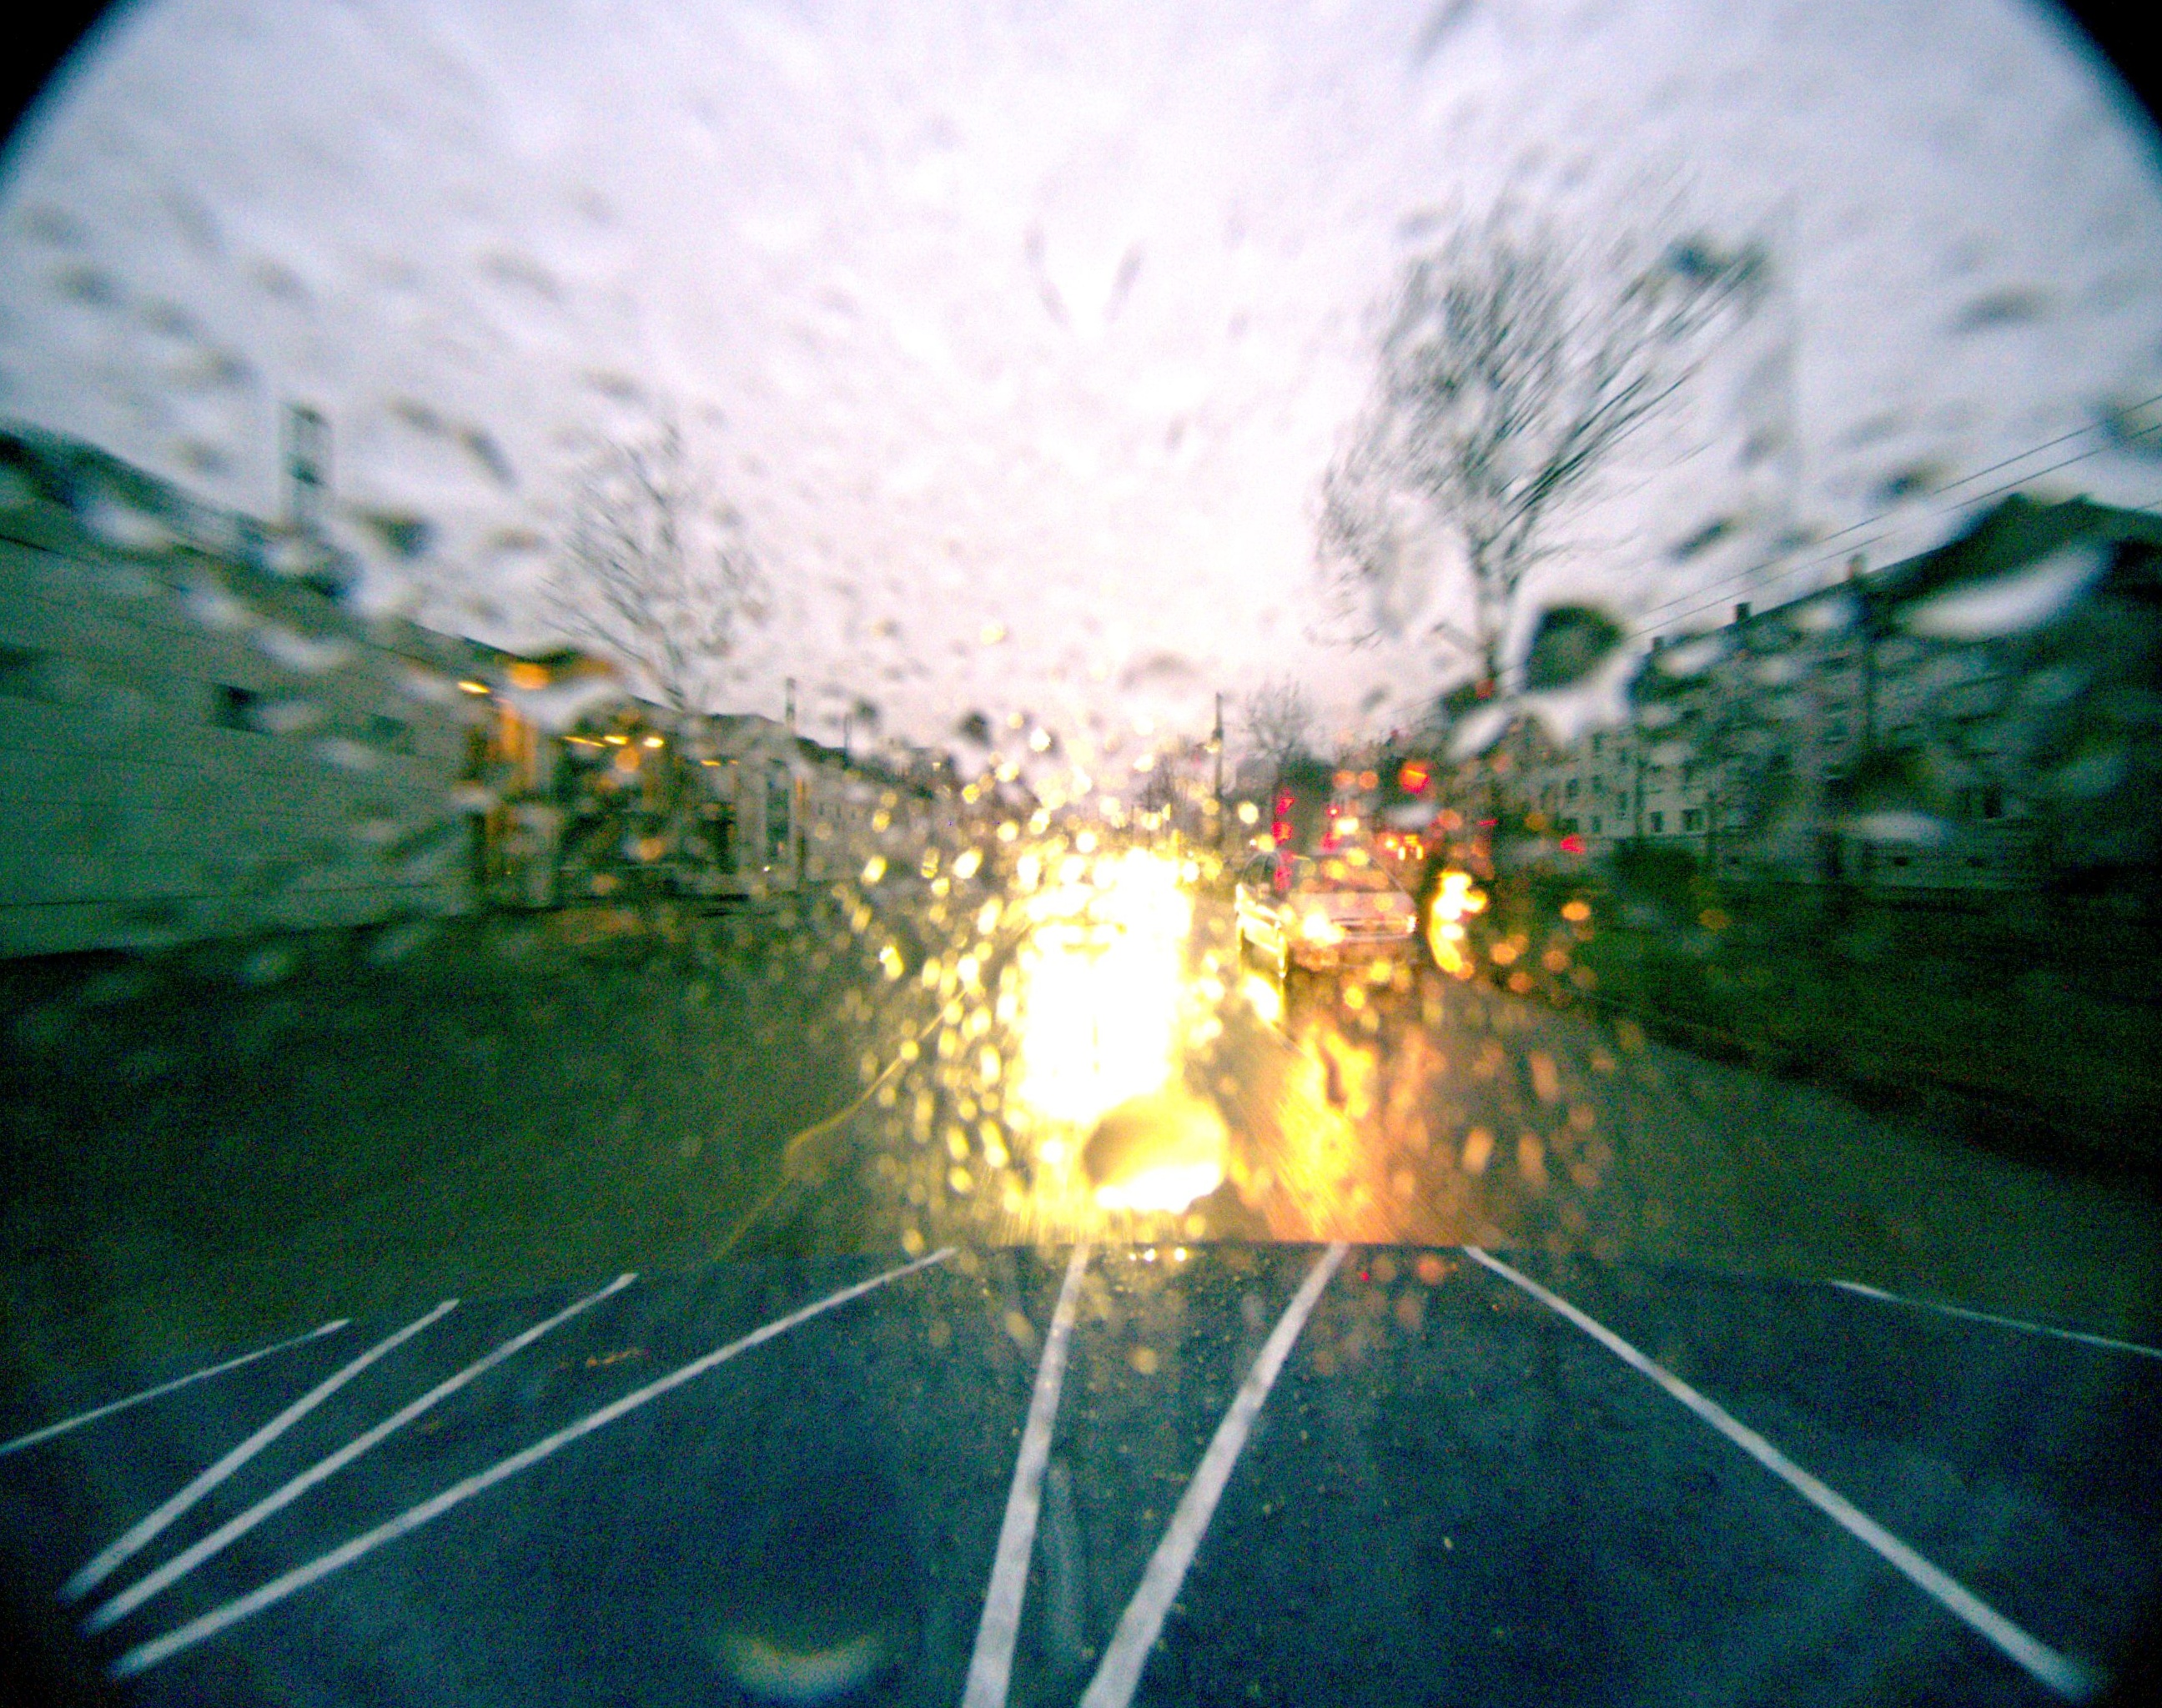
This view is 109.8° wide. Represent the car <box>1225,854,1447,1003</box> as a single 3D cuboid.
[{"bbox_3d":[3.096,0.796,10.084,1.638,1.511,3.907,-2,1,1],"label":"car"}]

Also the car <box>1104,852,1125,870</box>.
[{"bbox_3d":[3.211,0.640,72.871,1.802,1.674,3.805,-2,1,1],"label":"car"}]

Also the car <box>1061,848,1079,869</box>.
[{"bbox_3d":[-1.110,0.401,76.880,1.671,2.002,3.775,-2,1,1],"label":"car"}]

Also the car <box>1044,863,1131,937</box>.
[{"bbox_3d":[0.153,0.935,16.826,1.669,1.325,3.787,-2,1,1],"label":"car"}]

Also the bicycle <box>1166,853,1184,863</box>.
[{"bbox_3d":[9.305,0.389,75.458,1.725,0.893,0.733,2,1,1],"label":"bicycle"}]

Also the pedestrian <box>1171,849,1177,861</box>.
[{"bbox_3d":[9.226,0.063,75.388,0.562,1.150,0.582,-2,1,5],"label":"pedestrian"}]

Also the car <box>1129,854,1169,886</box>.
[{"bbox_3d":[3.429,0.796,38.942,1.905,1.475,3.656,-2,1,3],"label":"car"}]

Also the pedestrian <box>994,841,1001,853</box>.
[{"bbox_3d":[-10.806,-0.912,98.254,0.674,1.639,0.769,2,1,0],"label":"pedestrian"}]

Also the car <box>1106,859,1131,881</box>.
[{"bbox_3d":[2.581,1.100,52.661,1.538,1.347,3.546,-2,1,1],"label":"car"}]

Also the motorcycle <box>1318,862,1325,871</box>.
[{"bbox_3d":[21.156,1.092,66.843,0.422,0.679,1.176,-2,1,7],"label":"motorcycle"}]

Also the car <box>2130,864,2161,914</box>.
[{"bbox_3d":[30.228,0.968,19.444,1.468,1.332,3.910,-2,1,3],"label":"car"}]

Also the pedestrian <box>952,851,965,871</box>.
[{"bbox_3d":[-10.042,0.570,62.342,0.814,1.621,0.883,2,1,0],"label":"pedestrian"}]

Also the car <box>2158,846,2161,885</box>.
[{"bbox_3d":[44.142,0.400,29.096,3.362,1.534,1.611,-2,1,2],"label":"car"}]

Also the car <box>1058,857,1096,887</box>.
[{"bbox_3d":[-0.164,0.859,37.799,1.736,1.311,3.803,-2,1,1],"label":"car"}]

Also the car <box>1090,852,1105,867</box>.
[{"bbox_3d":[2.002,0.610,90.809,1.686,1.669,3.468,-2,1,1],"label":"car"}]
